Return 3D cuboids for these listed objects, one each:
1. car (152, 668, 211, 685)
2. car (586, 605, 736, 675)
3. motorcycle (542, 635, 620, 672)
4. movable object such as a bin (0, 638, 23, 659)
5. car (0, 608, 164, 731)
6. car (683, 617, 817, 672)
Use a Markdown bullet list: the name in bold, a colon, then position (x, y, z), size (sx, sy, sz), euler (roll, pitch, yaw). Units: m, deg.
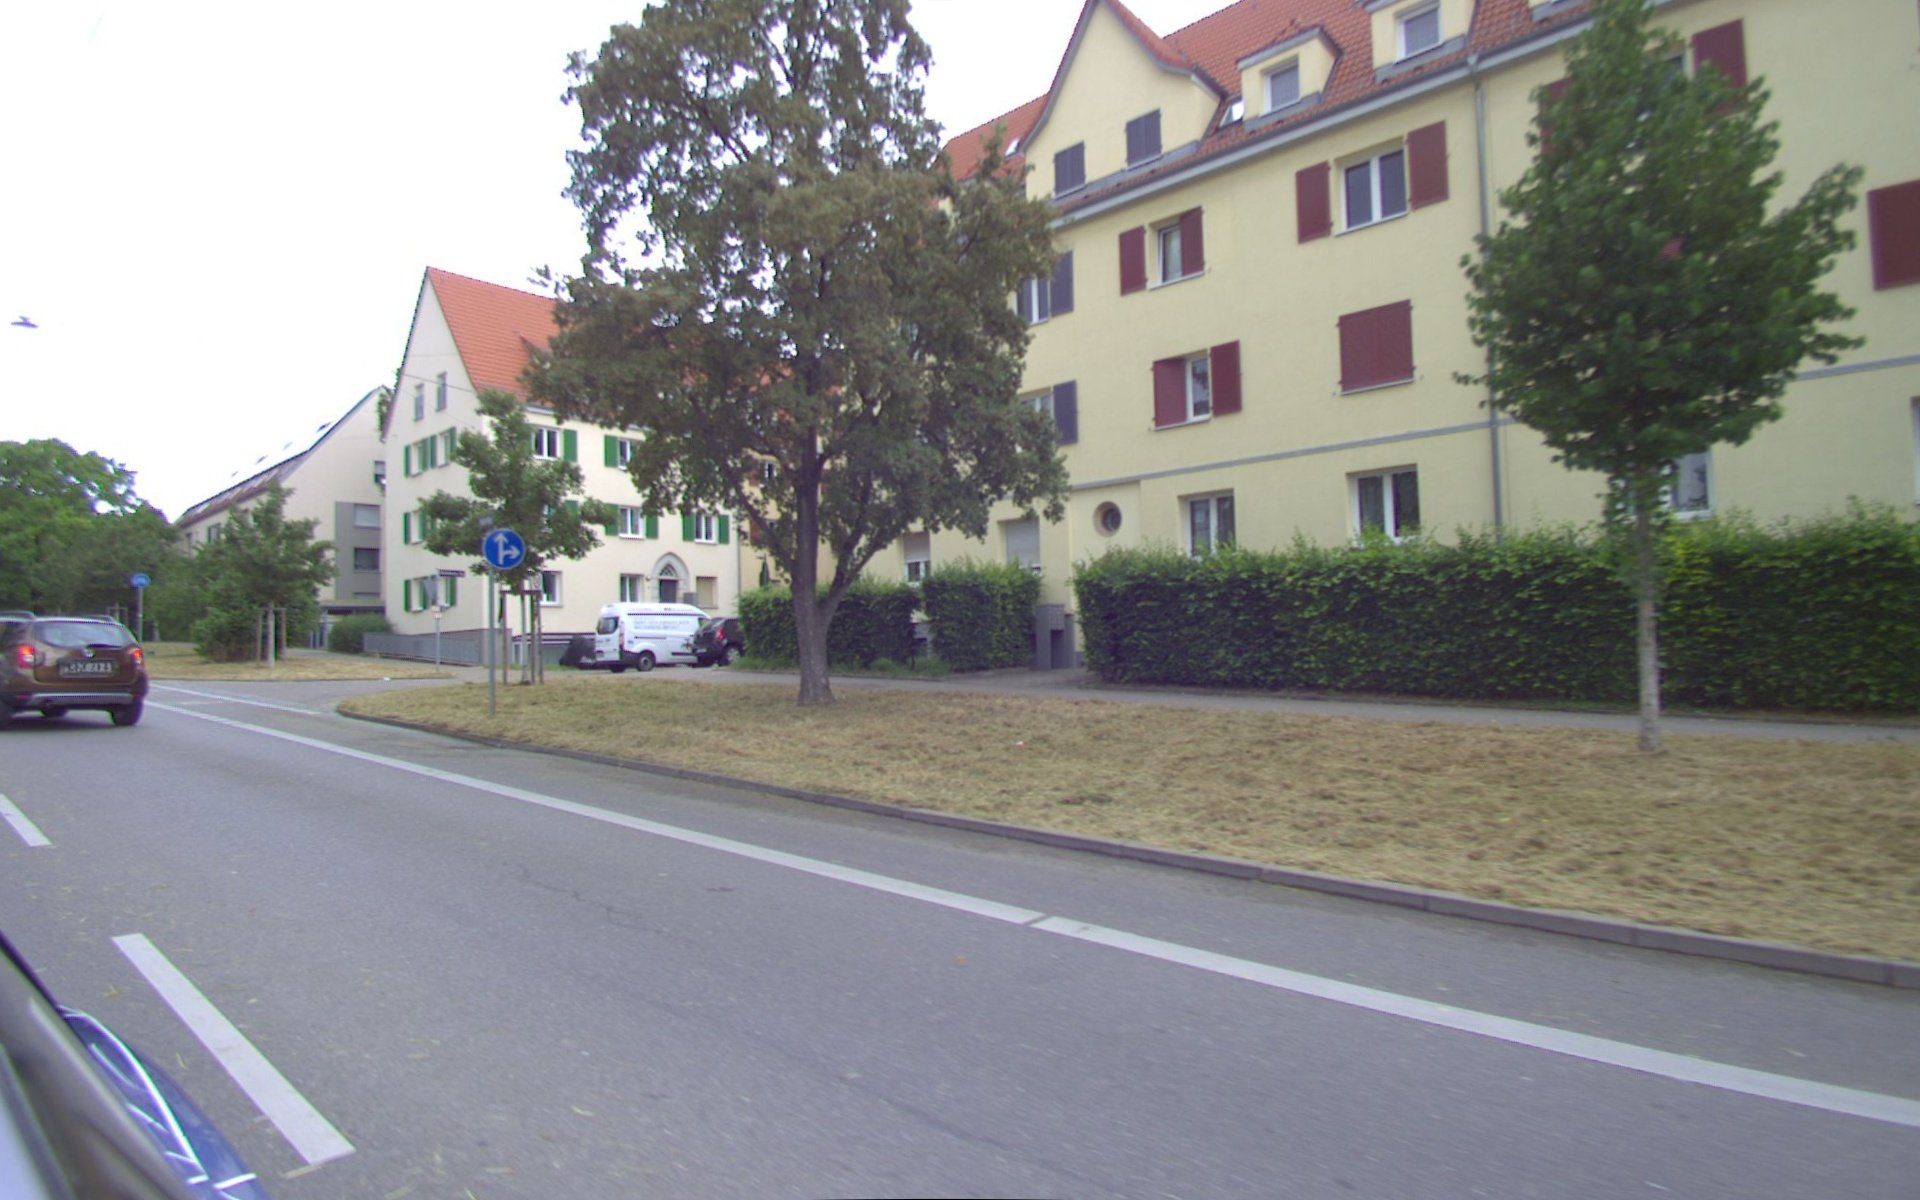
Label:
- **car**: position (-71.582, 7.063, 93.092), size (3.959, 1.475, 1.813), euler (2, -3, -24)
- **car**: position (-10.338, 1.366, 35.241), size (1.994, 2.270, 4.667), euler (-1, -2, 42)
- **motorcycle**: position (-13.653, 1.911, 36.562), size (2.562, 1.288, 1.020), euler (1, -2, -16)
- **movable object such as a bin**: position (-89.590, 4.514, 95.152), size (3.234, 1.918, 1.088), euler (-1, -2, 27)
- **car**: position (-14.278, 0.982, 15.394), size (4.343, 1.632, 1.887), euler (-1, -2, 29)
- **car**: position (-6.518, 1.373, 31.729), size (1.690, 1.542, 3.864), euler (-6, -5, 40)
